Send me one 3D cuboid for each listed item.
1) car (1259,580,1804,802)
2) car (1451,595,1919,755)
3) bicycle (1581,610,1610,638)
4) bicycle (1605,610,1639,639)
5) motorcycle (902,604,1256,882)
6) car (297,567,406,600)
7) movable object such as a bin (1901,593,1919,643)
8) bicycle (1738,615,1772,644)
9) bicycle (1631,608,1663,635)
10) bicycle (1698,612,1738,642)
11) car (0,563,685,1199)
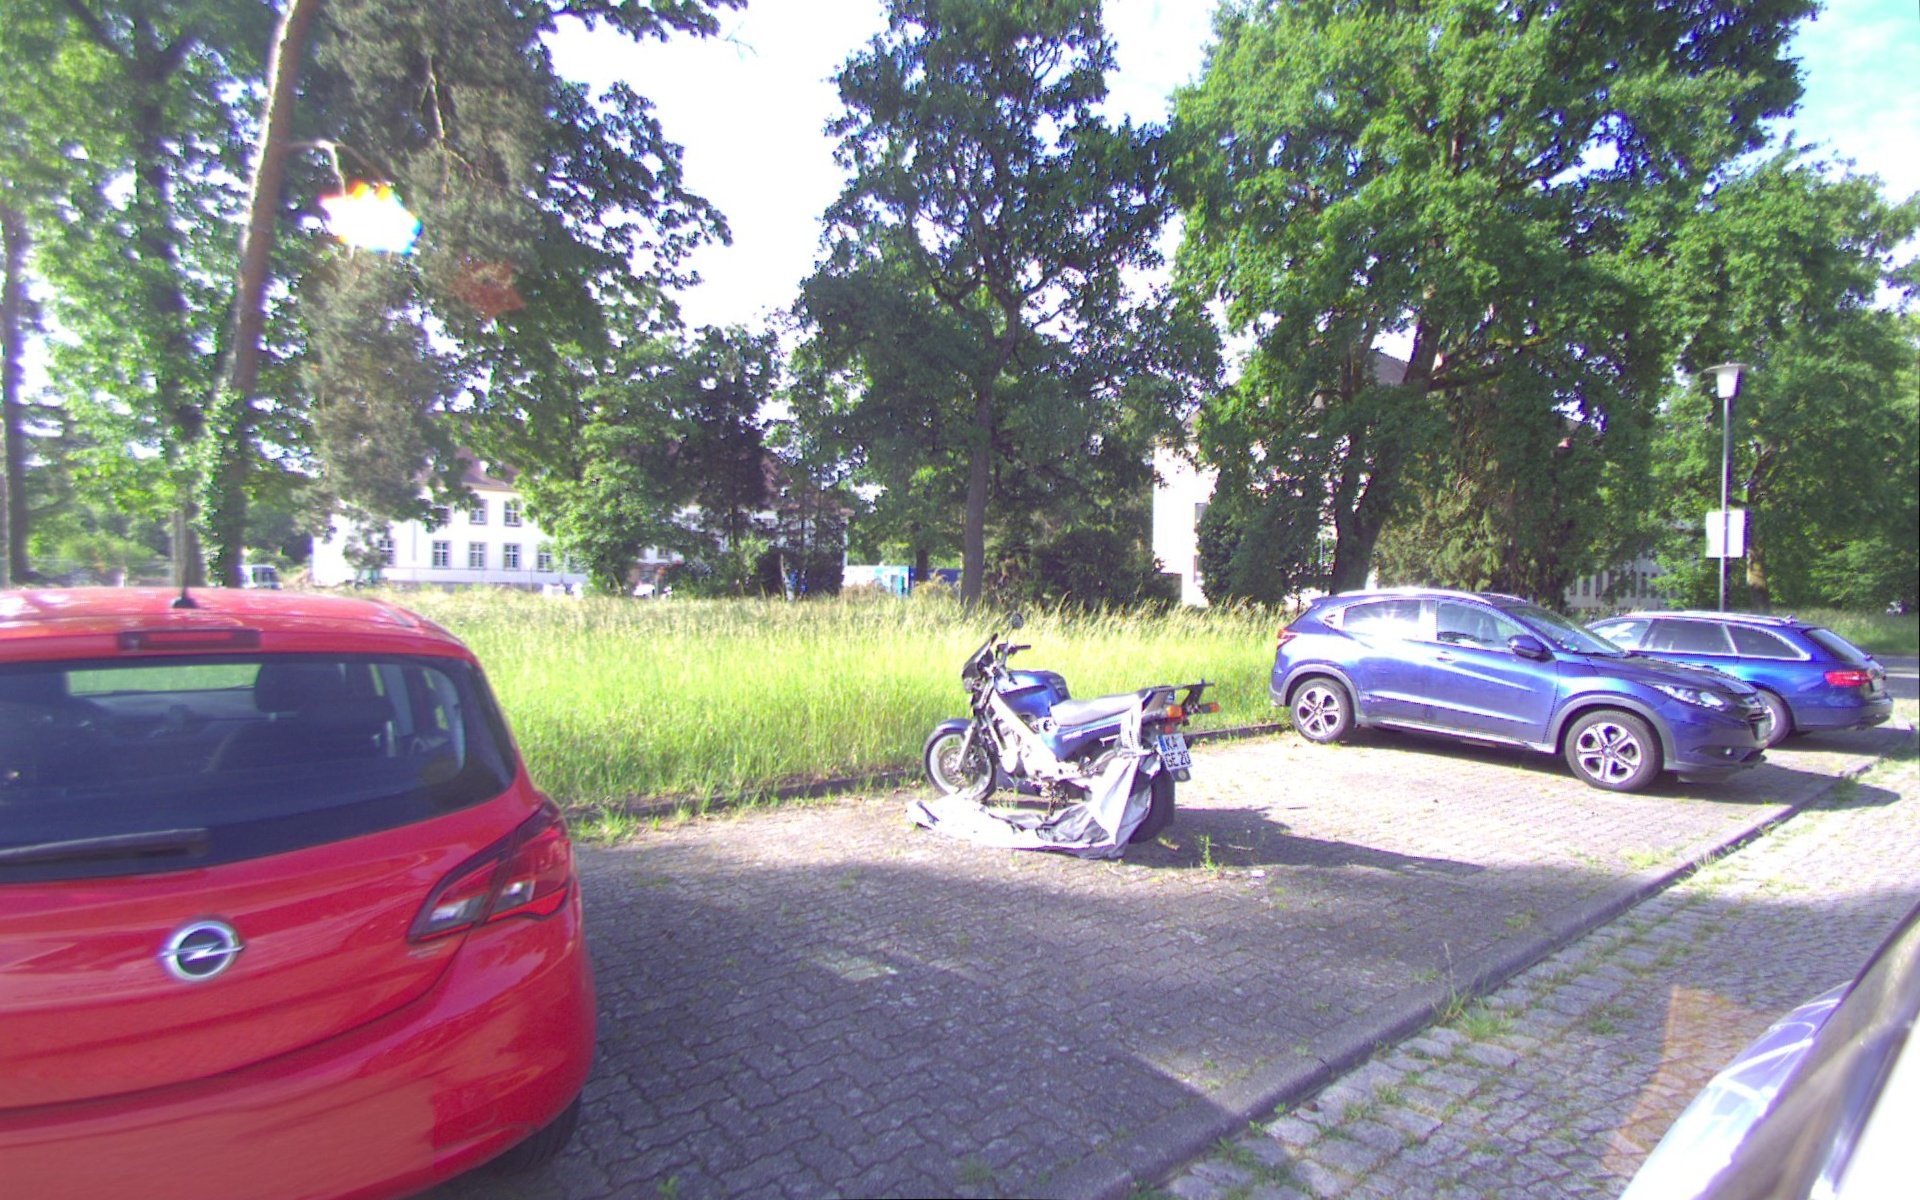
[{"bbox_3d":[5.173,0.646,9.658,1.720,1.611,4.185,1,1,-40],"label":"car"},{"bbox_3d":[8.746,0.759,12.574,1.682,1.425,4.464,1,2,-37],"label":"car"},{"bbox_3d":[24.175,0.905,38.491,1.008,1.029,0.619,1,1,-38],"label":"bicycle"},{"bbox_3d":[24.938,0.920,38.141,1.007,1.029,0.711,1,1,-33],"label":"bicycle"},{"bbox_3d":[0.628,0.739,6.316,0.713,1.336,2.305,1,2,-40],"label":"motorcycle"},{"bbox_3d":[-41.143,-1.128,68.610,5.888,2.198,2.381,0,1,-18],"label":"car"},{"bbox_3d":[36.052,0.709,34.851,1.959,1.781,4.950,1,1,-25],"label":"movable object such as a bin"},{"bbox_3d":[27.348,1.002,34.802,1.121,0.946,0.746,1,1,-43],"label":"bicycle"},{"bbox_3d":[27.832,0.865,40.996,0.700,1.029,1.023,1,1,12],"label":"bicycle"},{"bbox_3d":[26.437,0.933,35.284,1.231,1.029,0.711,1,1,-33],"label":"bicycle"},{"bbox_3d":[-2.483,0.666,3.254,1.616,1.497,3.836,1,2,-40],"label":"car"}]
